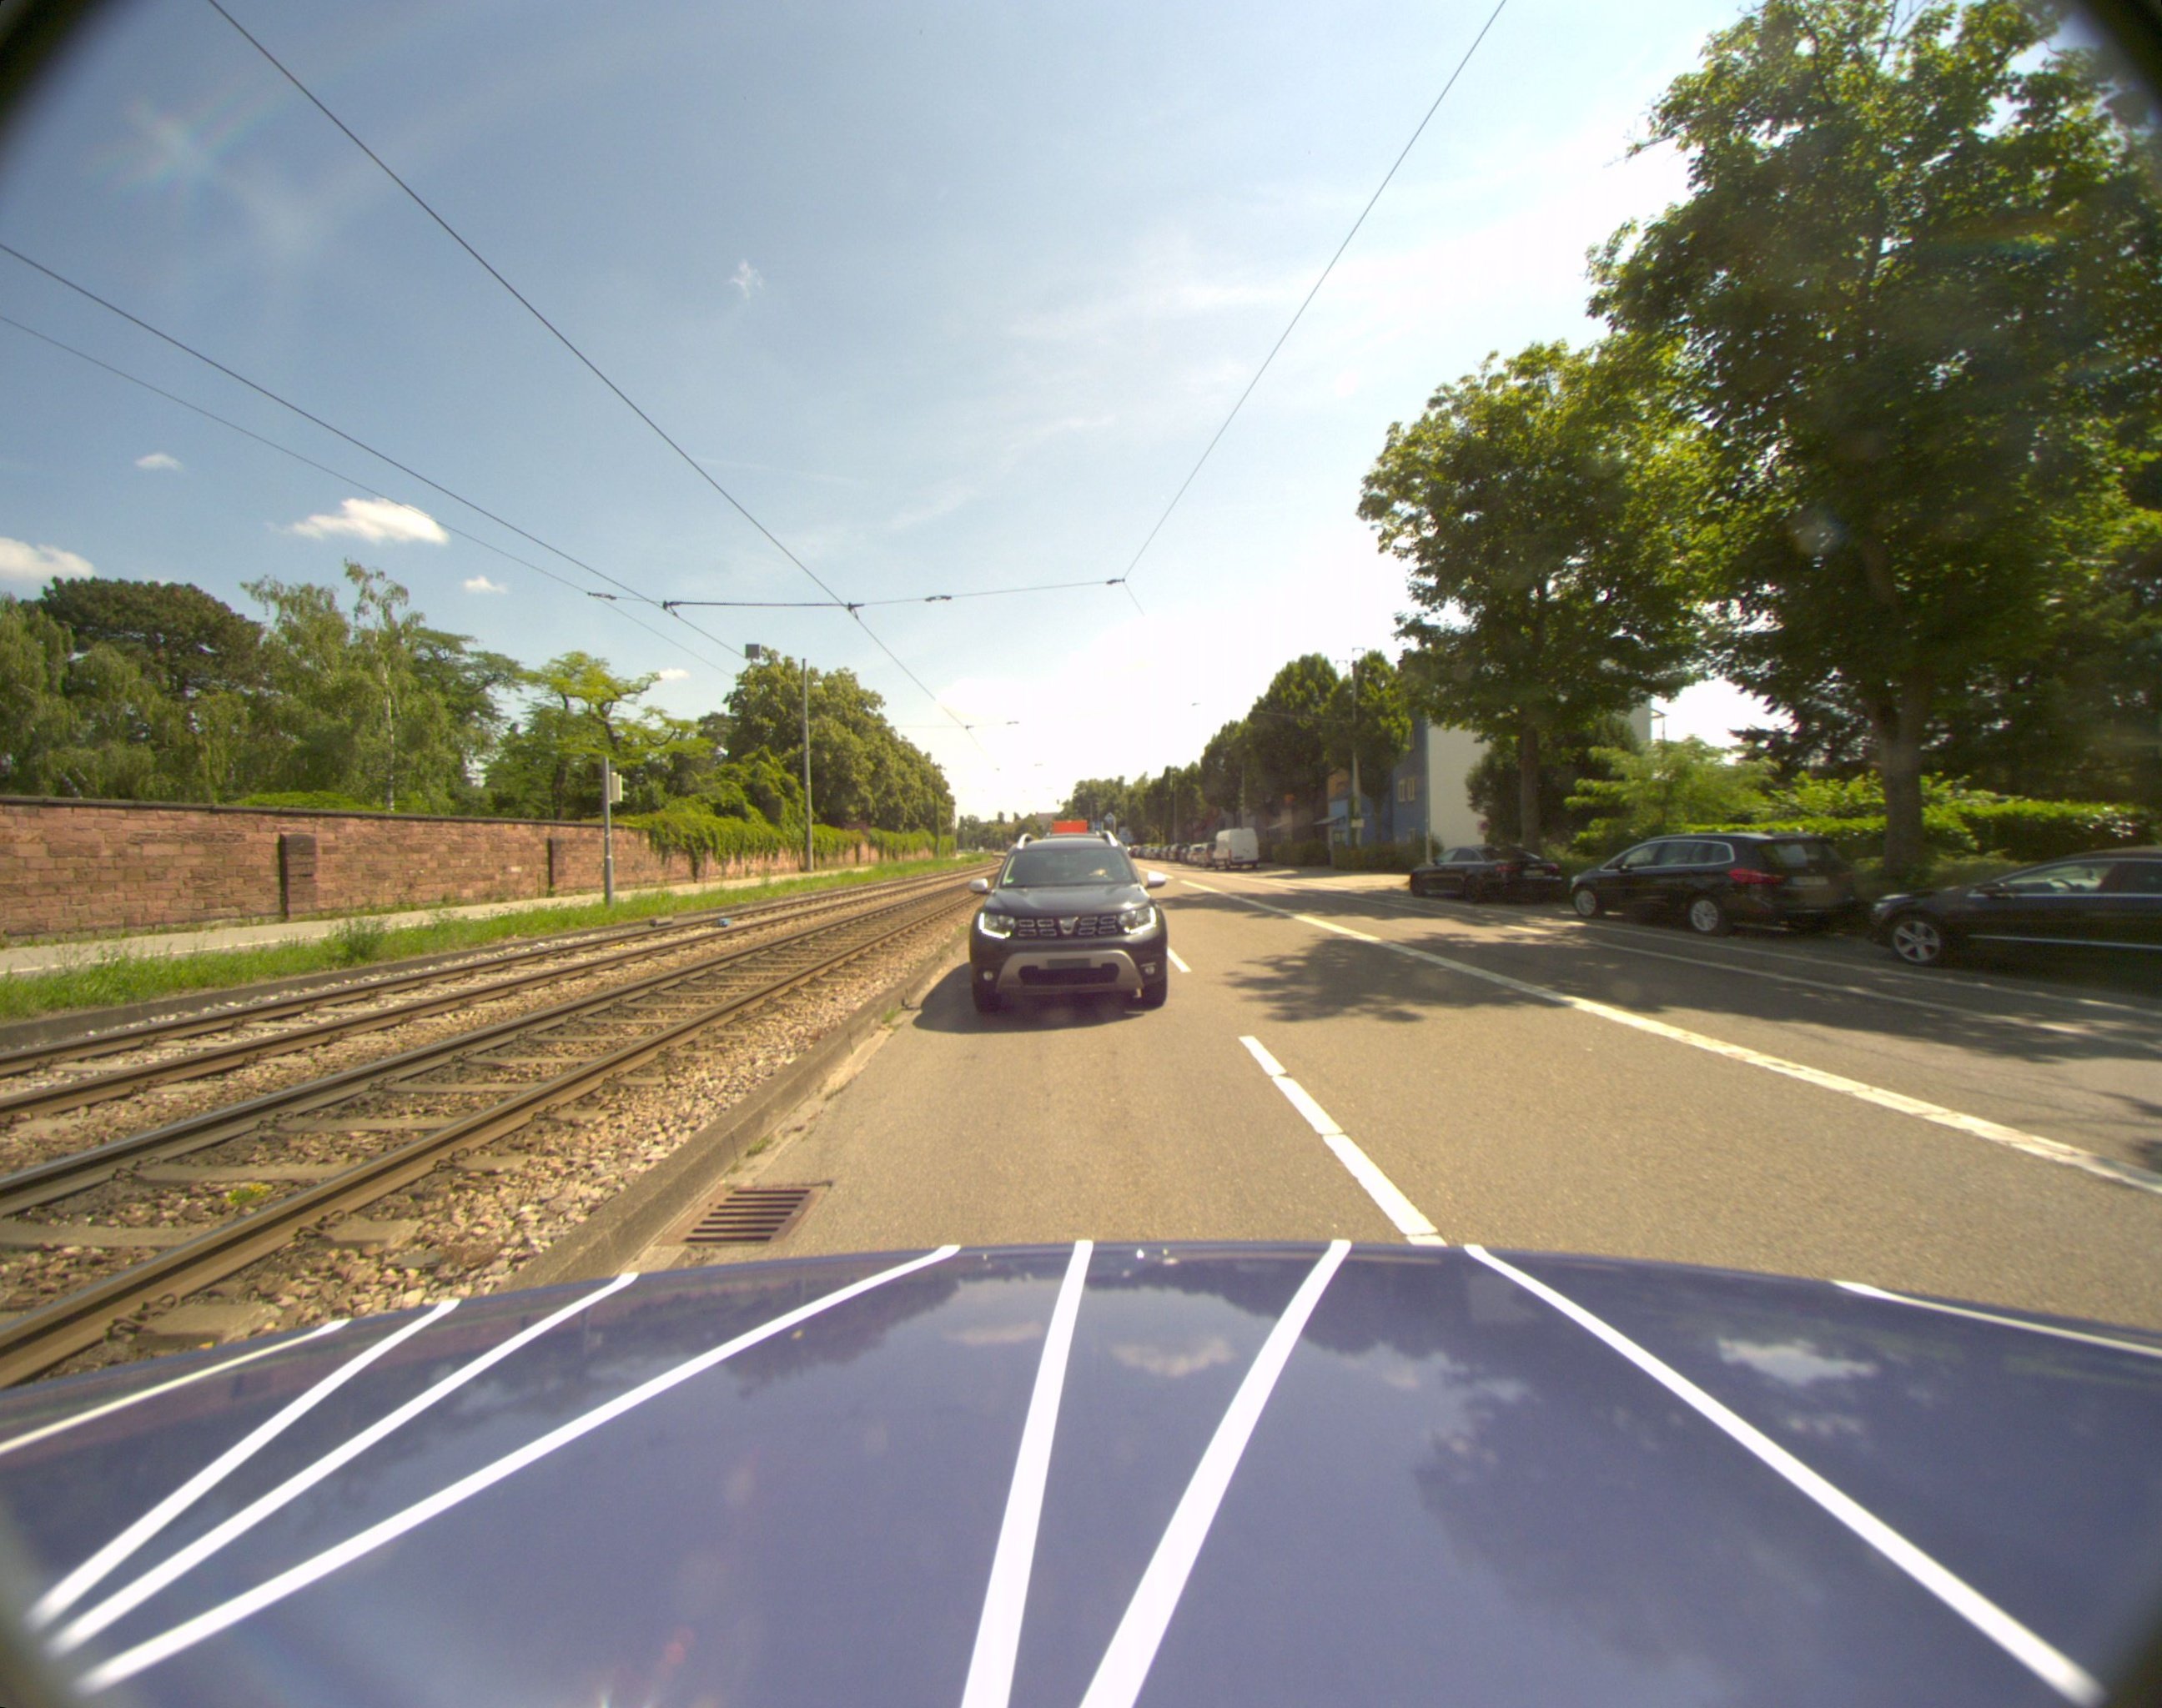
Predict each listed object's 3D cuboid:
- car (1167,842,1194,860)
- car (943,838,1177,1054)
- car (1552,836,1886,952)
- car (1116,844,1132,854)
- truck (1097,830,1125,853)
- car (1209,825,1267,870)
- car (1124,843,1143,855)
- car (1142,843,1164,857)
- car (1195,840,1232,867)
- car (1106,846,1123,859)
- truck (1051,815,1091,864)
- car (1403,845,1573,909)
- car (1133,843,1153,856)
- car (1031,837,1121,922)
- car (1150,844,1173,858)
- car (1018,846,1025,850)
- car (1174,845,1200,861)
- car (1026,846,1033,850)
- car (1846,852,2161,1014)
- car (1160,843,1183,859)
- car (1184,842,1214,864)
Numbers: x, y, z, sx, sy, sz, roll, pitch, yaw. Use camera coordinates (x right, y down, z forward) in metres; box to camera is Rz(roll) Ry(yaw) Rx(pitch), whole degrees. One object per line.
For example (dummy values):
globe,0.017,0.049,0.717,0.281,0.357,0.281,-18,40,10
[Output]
car,9.832,-0.336,75.500,1.756,1.706,4.886,-1,0,-3
car,-0.203,0.692,8.461,1.802,1.652,4.786,-2,1,-1
car,10.553,0.538,13.160,1.779,1.595,4.636,-2,1,-2
car,6.296,-0.741,112.591,1.660,1.403,4.394,-1,1,-6
truck,4.806,-1.987,124.485,2.840,3.528,8.163,-3,1,-9
car,10.445,-0.441,51.332,2.329,2.636,7.034,-5,1,0
car,7.146,-0.690,104.231,1.661,1.600,4.170,-1,1,-9
car,8.825,-0.494,93.073,1.660,1.500,4.892,-4,2,-6
car,10.243,-0.079,59.249,1.811,1.884,5.361,-3,1,0
car,3.848,-0.161,88.036,1.682,1.390,4.004,1,1,-2
truck,-0.753,-1.135,59.809,2.845,3.575,8.703,-1,1,0
car,10.397,0.507,19.903,1.779,1.447,4.802,-1,1,-2
car,8.022,-0.596,98.431,1.660,1.600,4.684,-3,1,-6
car,-0.142,0.494,17.836,1.802,1.683,4.143,-3,1,-1
car,9.148,-0.334,86.831,1.746,1.438,4.961,-3,1,-5
car,-19.102,-1.927,244.772,2.000,1.379,3.997,-1,0,-8
car,9.773,-0.120,70.223,1.603,1.462,4.086,-1,1,-3
car,-17.269,-2.076,252.520,2.000,1.379,3.997,-1,0,-8
car,10.678,0.724,7.313,1.779,1.365,4.695,-3,1,-2
car,9.613,-0.331,80.946,1.660,1.608,4.283,0,1,-4
car,10.044,-0.116,64.976,1.721,1.742,4.902,0,1,-1
